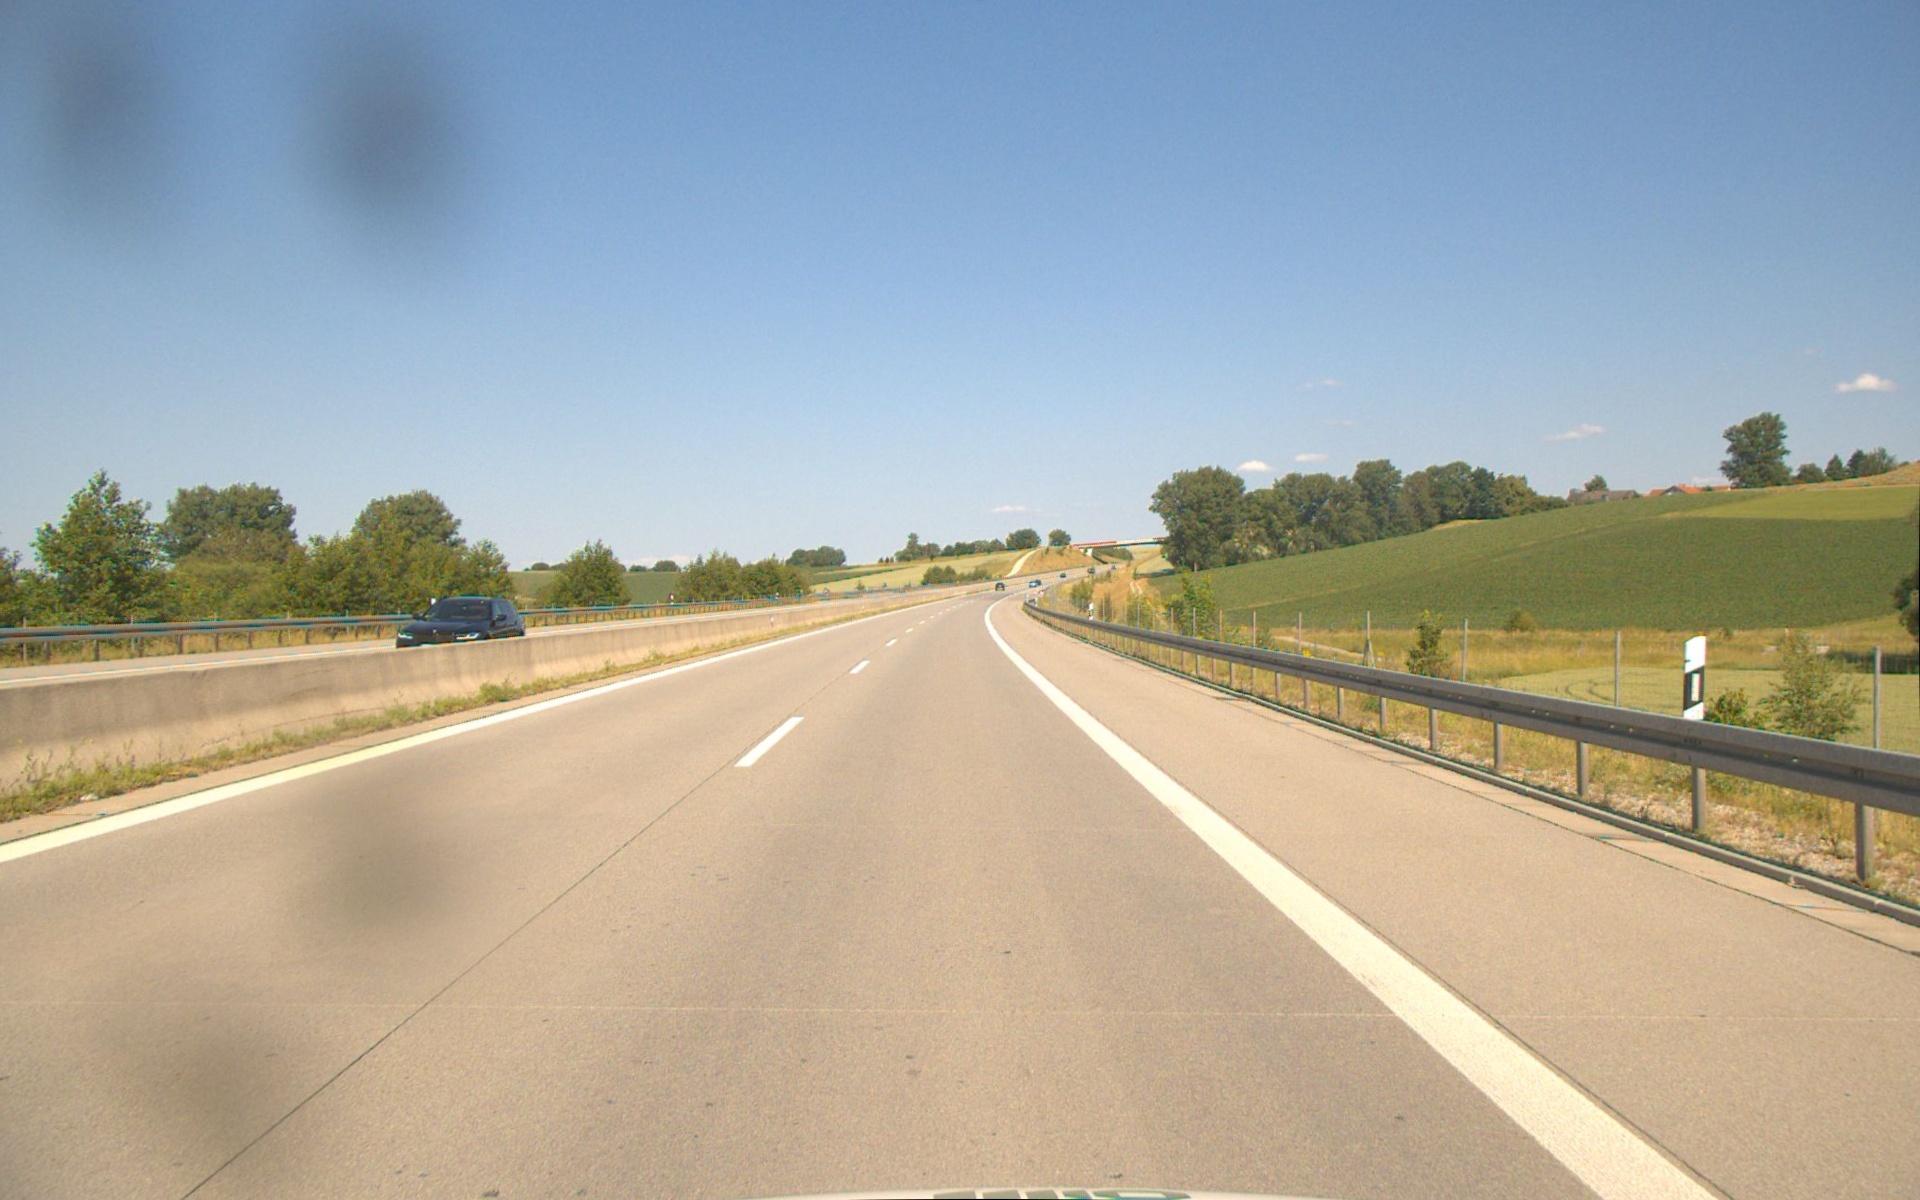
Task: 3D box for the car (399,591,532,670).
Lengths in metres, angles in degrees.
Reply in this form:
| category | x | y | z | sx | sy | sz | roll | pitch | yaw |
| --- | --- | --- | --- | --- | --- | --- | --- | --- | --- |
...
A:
| category | x | y | z | sx | sy | sz | roll | pitch | yaw |
| --- | --- | --- | --- | --- | --- | --- | --- | --- | --- |
| car | -10.955 | 0.652 | 36.974 | 1.676 | 1.617 | 4.625 | 1 | -1 | -2 |
